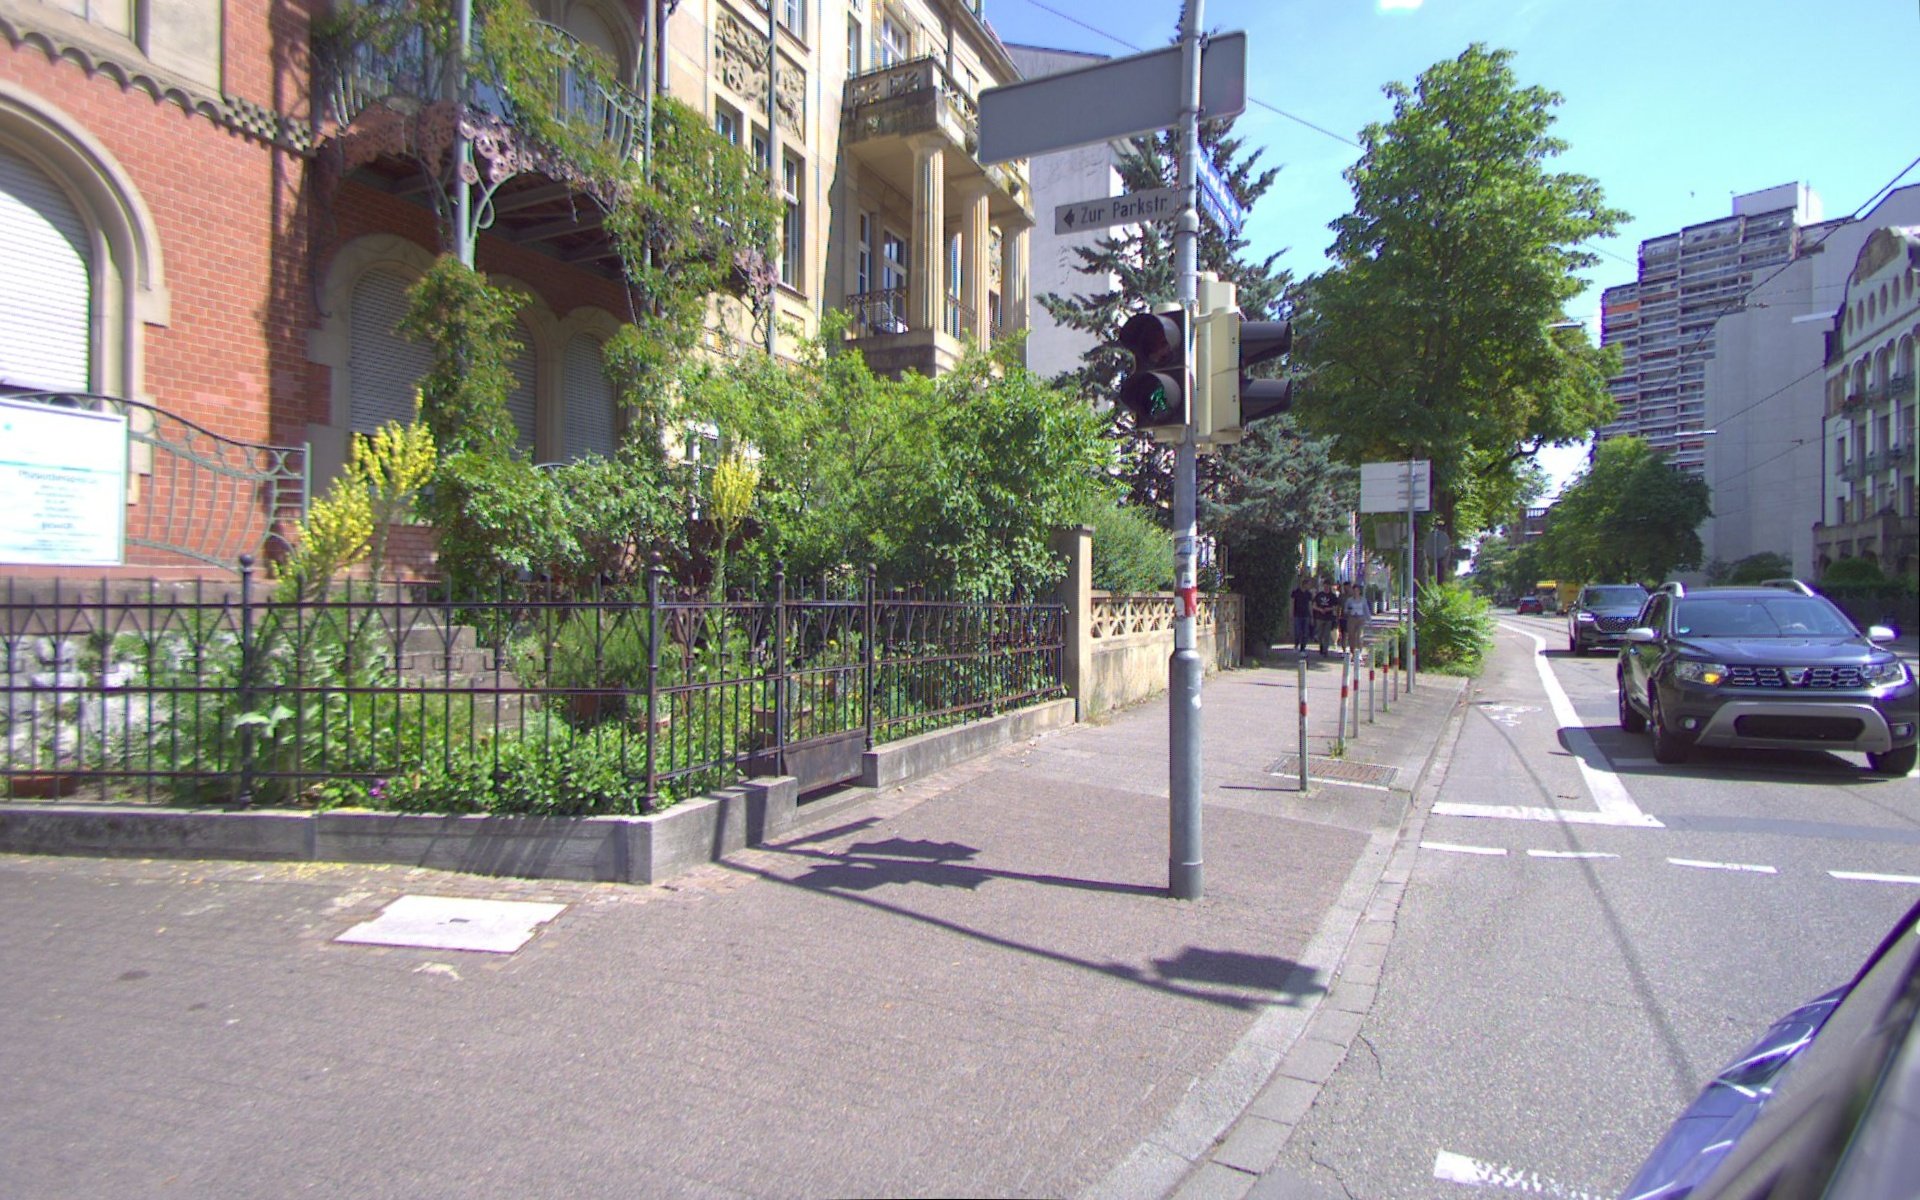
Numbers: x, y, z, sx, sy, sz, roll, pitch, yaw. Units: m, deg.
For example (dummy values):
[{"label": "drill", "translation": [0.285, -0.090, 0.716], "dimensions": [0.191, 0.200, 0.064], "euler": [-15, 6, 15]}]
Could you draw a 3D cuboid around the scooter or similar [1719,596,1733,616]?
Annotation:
[{"label": "scooter or similar", "translation": [44.957, 0.349, 59.400], "dimensions": [0.403, 1.134, 1.279], "euler": [0, 0, 27]}]

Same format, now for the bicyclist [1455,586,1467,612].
[{"label": "bicyclist", "translation": [40.160, -0.083, 81.073], "dimensions": [0.764, 2.039, 0.802], "euler": [0, 0, 21]}]

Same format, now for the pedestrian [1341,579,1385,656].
[{"label": "pedestrian", "translation": [9.025, 0.379, 22.644], "dimensions": [0.763, 1.672, 0.963], "euler": [0, 0, 32]}]

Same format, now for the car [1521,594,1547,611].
[{"label": "car", "translation": [51.410, 0.215, 90.654], "dimensions": [1.811, 1.431, 4.386], "euler": [0, 0, 27]}]

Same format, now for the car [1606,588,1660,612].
[{"label": "car", "translation": [57.893, -0.006, 87.084], "dimensions": [3.967, 2.068, 1.605], "euler": [0, 0, -15]}]

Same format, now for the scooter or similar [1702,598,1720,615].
[{"label": "scooter or similar", "translation": [46.309, 0.418, 62.418], "dimensions": [0.400, 1.033, 1.220], "euler": [0, 0, 9]}]

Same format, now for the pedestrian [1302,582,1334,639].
[{"label": "pedestrian", "translation": [10.759, 0.298, 30.391], "dimensions": [0.850, 1.666, 0.830], "euler": [0, 0, 23]}]

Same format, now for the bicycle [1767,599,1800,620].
[{"label": "bicycle", "translation": [38.795, 0.442, 47.665], "dimensions": [1.739, 1.012, 0.610], "euler": [0, 0, -29]}]

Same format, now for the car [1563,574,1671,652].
[{"label": "car", "translation": [17.013, 0.322, 26.397], "dimensions": [1.736, 1.840, 4.270], "euler": [-3, -1, 26]}]

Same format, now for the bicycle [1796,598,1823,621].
[{"label": "bicycle", "translation": [38.939, 0.443, 46.409], "dimensions": [0.461, 1.012, 1.693], "euler": [-4, -2, 25]}]

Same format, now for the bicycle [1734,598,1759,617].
[{"label": "bicycle", "translation": [43.477, 0.411, 55.958], "dimensions": [0.603, 1.002, 1.693], "euler": [-4, -2, 24]}]

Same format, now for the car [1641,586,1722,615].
[{"label": "car", "translation": [49.605, 0.061, 69.618], "dimensions": [4.491, 1.950, 1.966], "euler": [0, 0, -12]}]

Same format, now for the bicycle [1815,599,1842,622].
[{"label": "bicycle", "translation": [38.332, 0.437, 44.672], "dimensions": [0.410, 0.978, 1.711], "euler": [-4, -2, 25]}]

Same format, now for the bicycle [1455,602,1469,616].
[{"label": "bicycle", "translation": [40.126, 0.726, 80.927], "dimensions": [0.803, 1.109, 2.157], "euler": [-2, 0, 23]}]

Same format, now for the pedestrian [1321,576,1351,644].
[{"label": "pedestrian", "translation": [10.258, 0.264, 27.589], "dimensions": [0.679, 1.820, 1.075], "euler": [0, 0, 25]}]

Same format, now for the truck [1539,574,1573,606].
[{"label": "truck", "translation": [80.680, -1.328, 136.954], "dimensions": [2.663, 4.233, 10.327], "euler": [0, 0, 38]}]

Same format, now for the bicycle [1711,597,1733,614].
[{"label": "bicycle", "translation": [45.807, 0.342, 60.841], "dimensions": [0.603, 1.002, 1.693], "euler": [-4, -2, 24]}]

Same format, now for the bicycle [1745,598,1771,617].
[{"label": "bicycle", "translation": [42.710, 0.411, 54.163], "dimensions": [0.603, 0.988, 1.756], "euler": [-4, -2, 24]}]

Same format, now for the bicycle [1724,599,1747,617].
[{"label": "bicycle", "translation": [44.274, 0.442, 57.821], "dimensions": [0.603, 1.002, 1.693], "euler": [-4, -2, 24]}]

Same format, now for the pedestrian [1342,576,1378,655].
[{"label": "pedestrian", "translation": [9.357, 0.354, 23.670], "dimensions": [0.700, 1.799, 0.938], "euler": [0, 0, 28]}]

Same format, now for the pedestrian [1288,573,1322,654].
[{"label": "pedestrian", "translation": [8.041, 0.300, 23.569], "dimensions": [0.656, 1.834, 0.968], "euler": [0, 0, 25]}]

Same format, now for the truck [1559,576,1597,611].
[{"label": "truck", "translation": [54.772, -0.578, 89.789], "dimensions": [2.285, 2.957, 6.456], "euler": [0, 0, 26]}]

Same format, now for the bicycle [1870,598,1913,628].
[{"label": "bicycle", "translation": [35.516, 0.479, 38.595], "dimensions": [0.603, 1.078, 1.756], "euler": [-4, -2, 24]}]

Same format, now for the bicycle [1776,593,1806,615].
[{"label": "bicycle", "translation": [40.425, 0.193, 49.250], "dimensions": [0.603, 1.046, 1.756], "euler": [-4, -2, 24]}]

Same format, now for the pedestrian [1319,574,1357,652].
[{"label": "pedestrian", "translation": [8.866, 0.303, 23.772], "dimensions": [0.780, 1.784, 1.046], "euler": [0, 0, 19]}]

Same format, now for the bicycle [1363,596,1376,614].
[{"label": "bicycle", "translation": [25.685, 0.303, 63.516], "dimensions": [0.603, 1.084, 1.962], "euler": [0, 0, 27]}]

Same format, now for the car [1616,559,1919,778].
[{"label": "car", "translation": [7.722, 0.534, 9.943], "dimensions": [1.737, 1.672, 4.255], "euler": [-2, -1, 28]}]
